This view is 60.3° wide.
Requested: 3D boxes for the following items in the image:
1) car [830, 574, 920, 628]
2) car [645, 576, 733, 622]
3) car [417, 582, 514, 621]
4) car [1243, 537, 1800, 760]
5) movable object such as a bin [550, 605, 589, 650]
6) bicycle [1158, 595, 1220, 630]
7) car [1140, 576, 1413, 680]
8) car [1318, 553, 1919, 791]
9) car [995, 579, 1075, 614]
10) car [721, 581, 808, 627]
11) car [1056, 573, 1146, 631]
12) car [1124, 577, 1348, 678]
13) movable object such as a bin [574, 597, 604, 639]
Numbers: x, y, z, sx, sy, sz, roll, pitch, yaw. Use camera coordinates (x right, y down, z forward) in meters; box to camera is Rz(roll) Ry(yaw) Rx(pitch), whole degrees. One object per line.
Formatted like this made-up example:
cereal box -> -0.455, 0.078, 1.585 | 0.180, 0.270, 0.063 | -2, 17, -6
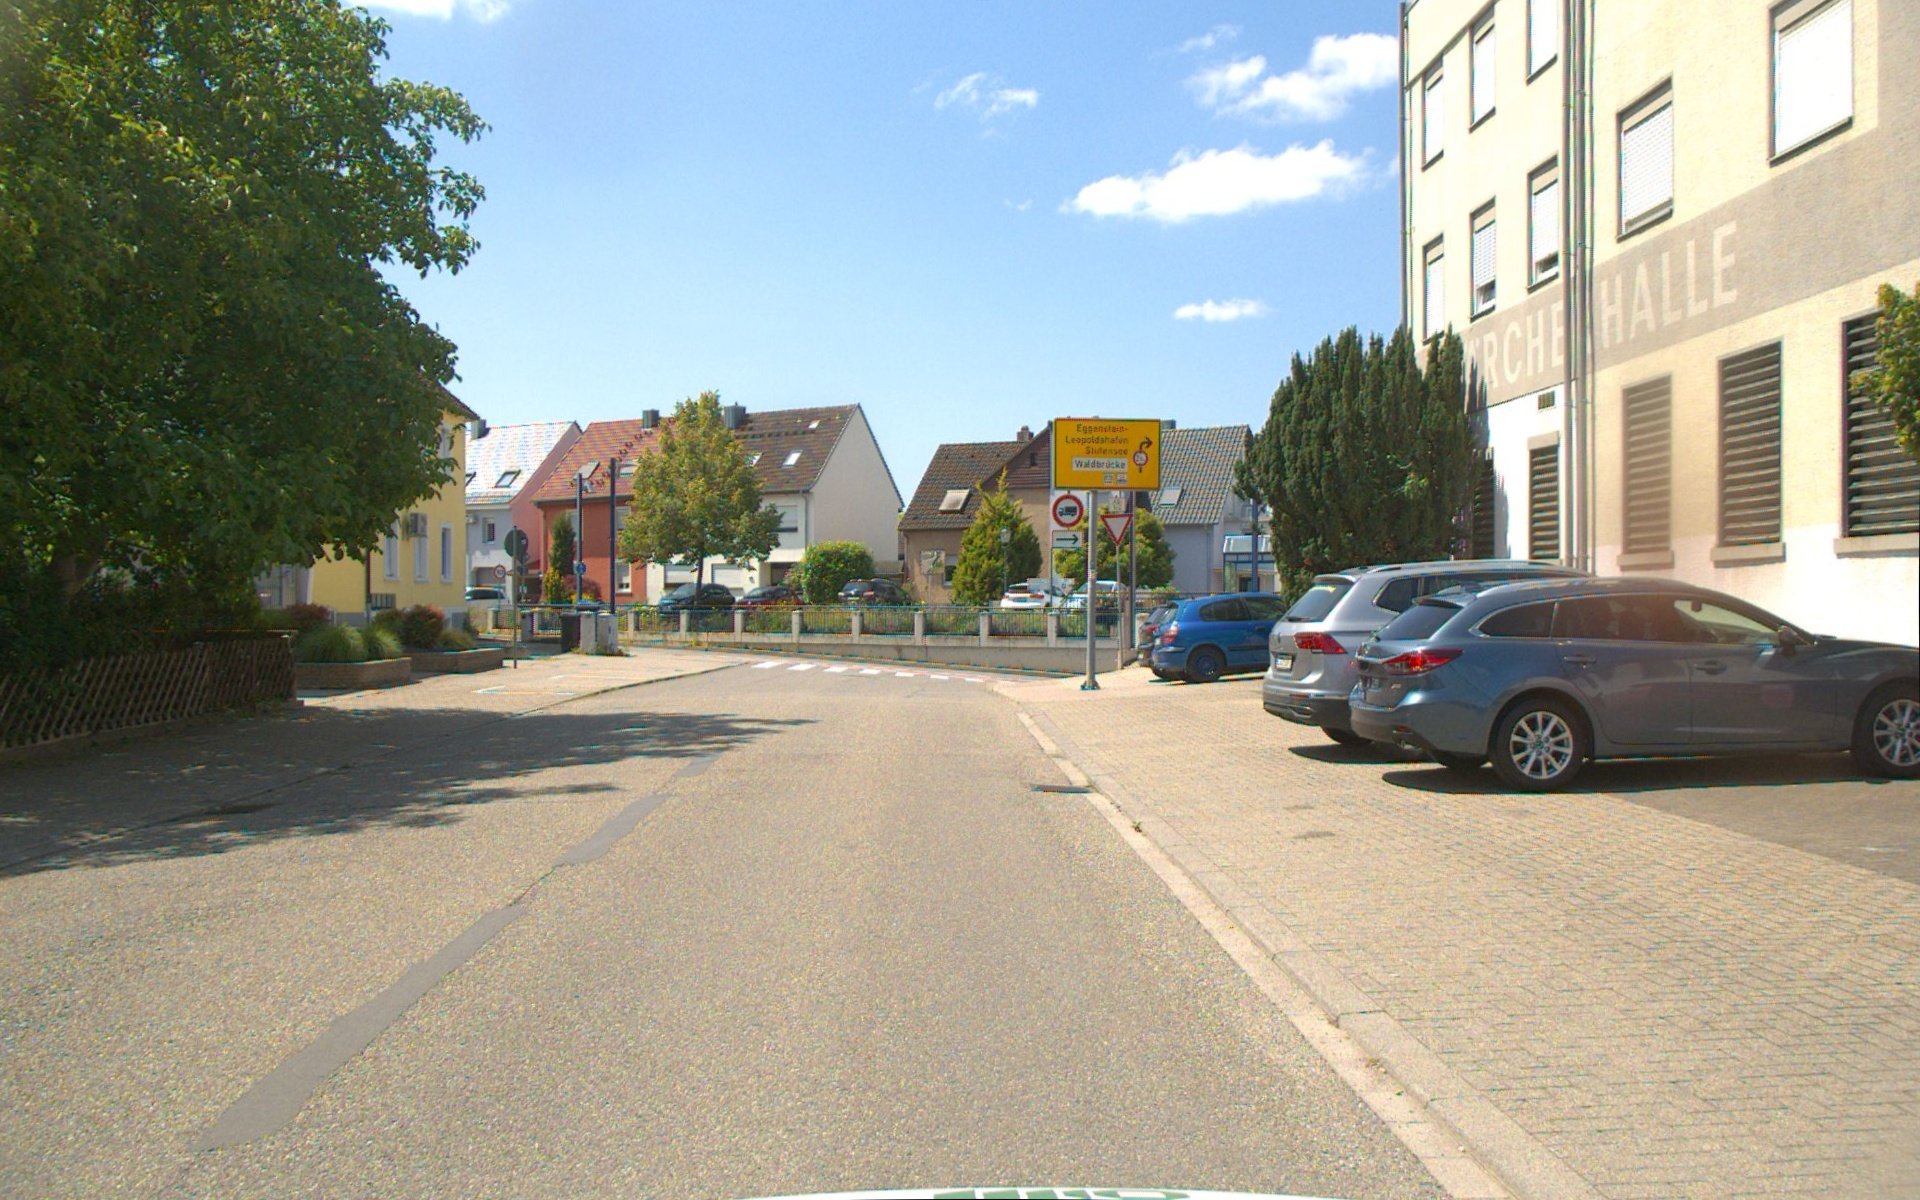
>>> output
car -> -3.320, 0.060, 65.102 | 1.830, 1.828, 3.997 | 4, -1, 24
car -> -11.218, -0.028, 68.566 | 1.830, 1.614, 3.607 | 4, -1, 24
car -> -23.062, 0.070, 77.318 | 1.710, 1.514, 4.247 | 4, -1, 30
car -> 4.972, 0.397, 15.034 | 4.366, 1.726, 1.921 | -2, 0, -5
movable object such as a bin -> -11.038, 0.782, 46.741 | 0.867, 1.247, 0.902 | 1, -1, 0
bicycle -> 7.778, 0.422, 56.164 | 2.070, 1.145, 0.333 | 1, 0, 18
car -> 5.383, 0.500, 28.461 | 4.237, 1.465, 1.778 | -4, -2, -4
car -> 5.229, 0.490, 12.771 | 4.411, 1.546, 1.999 | -2, 0, -3
car -> 2.819, -0.112, 61.729 | 1.789, 1.037, 3.457 | 4, -1, 24
car -> -7.887, 0.171, 66.899 | 1.830, 1.614, 3.607 | 4, -1, 24
car -> 5.217, 0.109, 60.743 | 1.954, 1.828, 4.194 | 4, -1, 24
car -> 5.244, 0.529, 31.723 | 3.820, 1.516, 1.808 | -6, -1, -5
movable object such as a bin -> -11.253, 0.534, 50.102 | 0.826, 1.235, 1.271 | 1, -1, -15
